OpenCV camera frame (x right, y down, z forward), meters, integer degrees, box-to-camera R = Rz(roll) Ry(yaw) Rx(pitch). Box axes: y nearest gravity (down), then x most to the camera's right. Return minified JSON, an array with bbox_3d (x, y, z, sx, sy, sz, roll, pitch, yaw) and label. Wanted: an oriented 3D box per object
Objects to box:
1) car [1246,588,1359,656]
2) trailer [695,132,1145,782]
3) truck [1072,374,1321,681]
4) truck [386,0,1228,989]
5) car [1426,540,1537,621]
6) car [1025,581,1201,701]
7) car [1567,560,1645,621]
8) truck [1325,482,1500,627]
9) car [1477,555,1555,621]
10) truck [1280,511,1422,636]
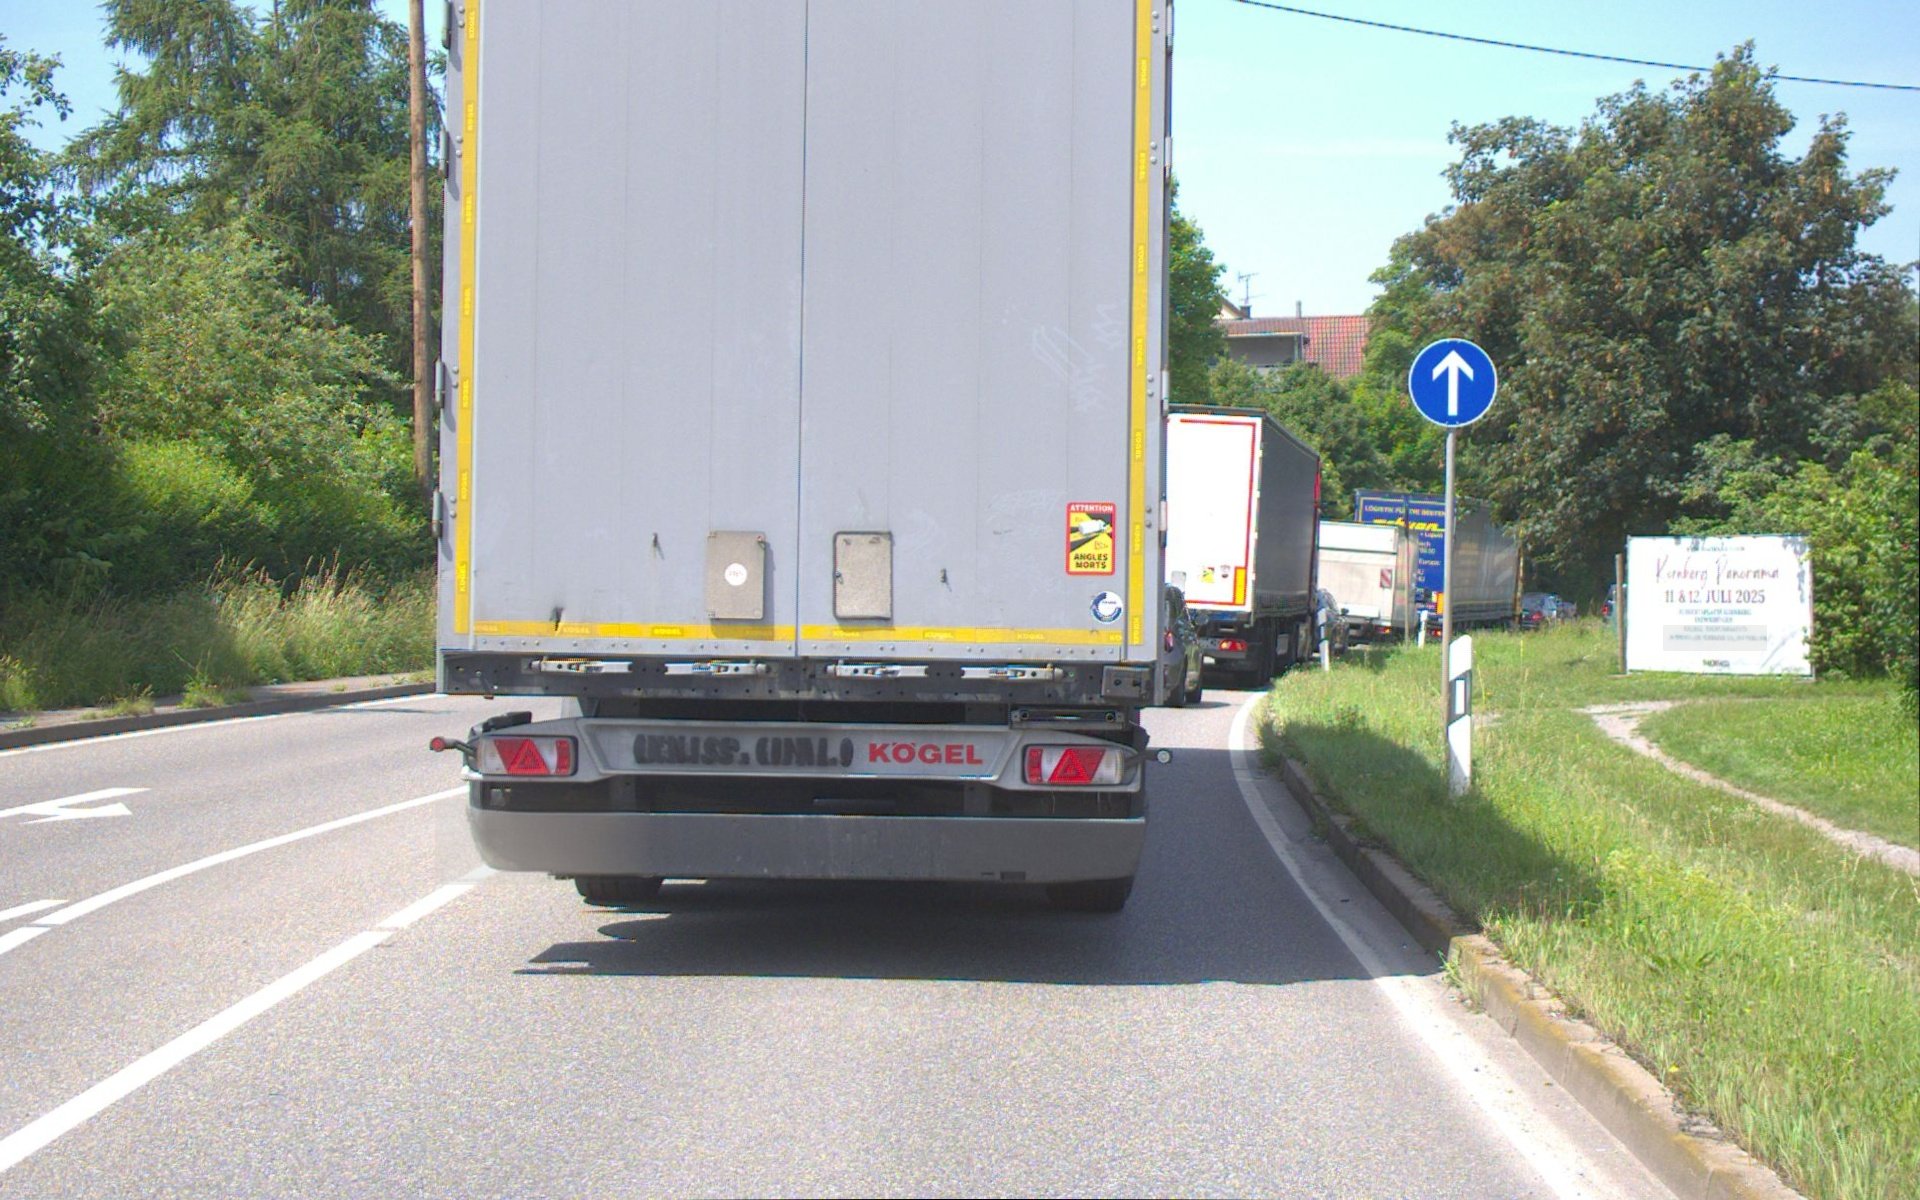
[{"bbox_3d":[7.270,0.458,72.674,1.994,1.371,3.998,1,0,11],"label":"car"},{"bbox_3d":[-0.145,-0.966,25.035,2.825,4.097,6.544,0,1,2],"label":"trailer"},{"bbox_3d":[4.177,-1.028,56.590,2.761,4.274,16.409,1,0,8],"label":"truck"},{"bbox_3d":[-0.369,-0.866,17.411,2.822,4.113,11.443,1,1,2],"label":"truck"},{"bbox_3d":[15.517,-0.618,101.999,2.533,2.269,6.377,1,1,15],"label":"car"},{"bbox_3d":[1.886,0.465,41.325,1.819,1.342,3.846,1,0,7],"label":"car"},{"bbox_3d":[22.330,-0.318,118.696,1.995,2.007,3.996,1,0,20],"label":"car"},{"bbox_3d":[12.059,-1.238,90.792,3.435,3.592,9.348,1,1,14],"label":"truck"},{"bbox_3d":[17.561,-0.364,108.441,1.995,2.007,3.997,1,0,15],"label":"car"},{"bbox_3d":[9.240,-0.590,80.833,2.545,2.793,6.028,1,0,14],"label":"truck"}]
